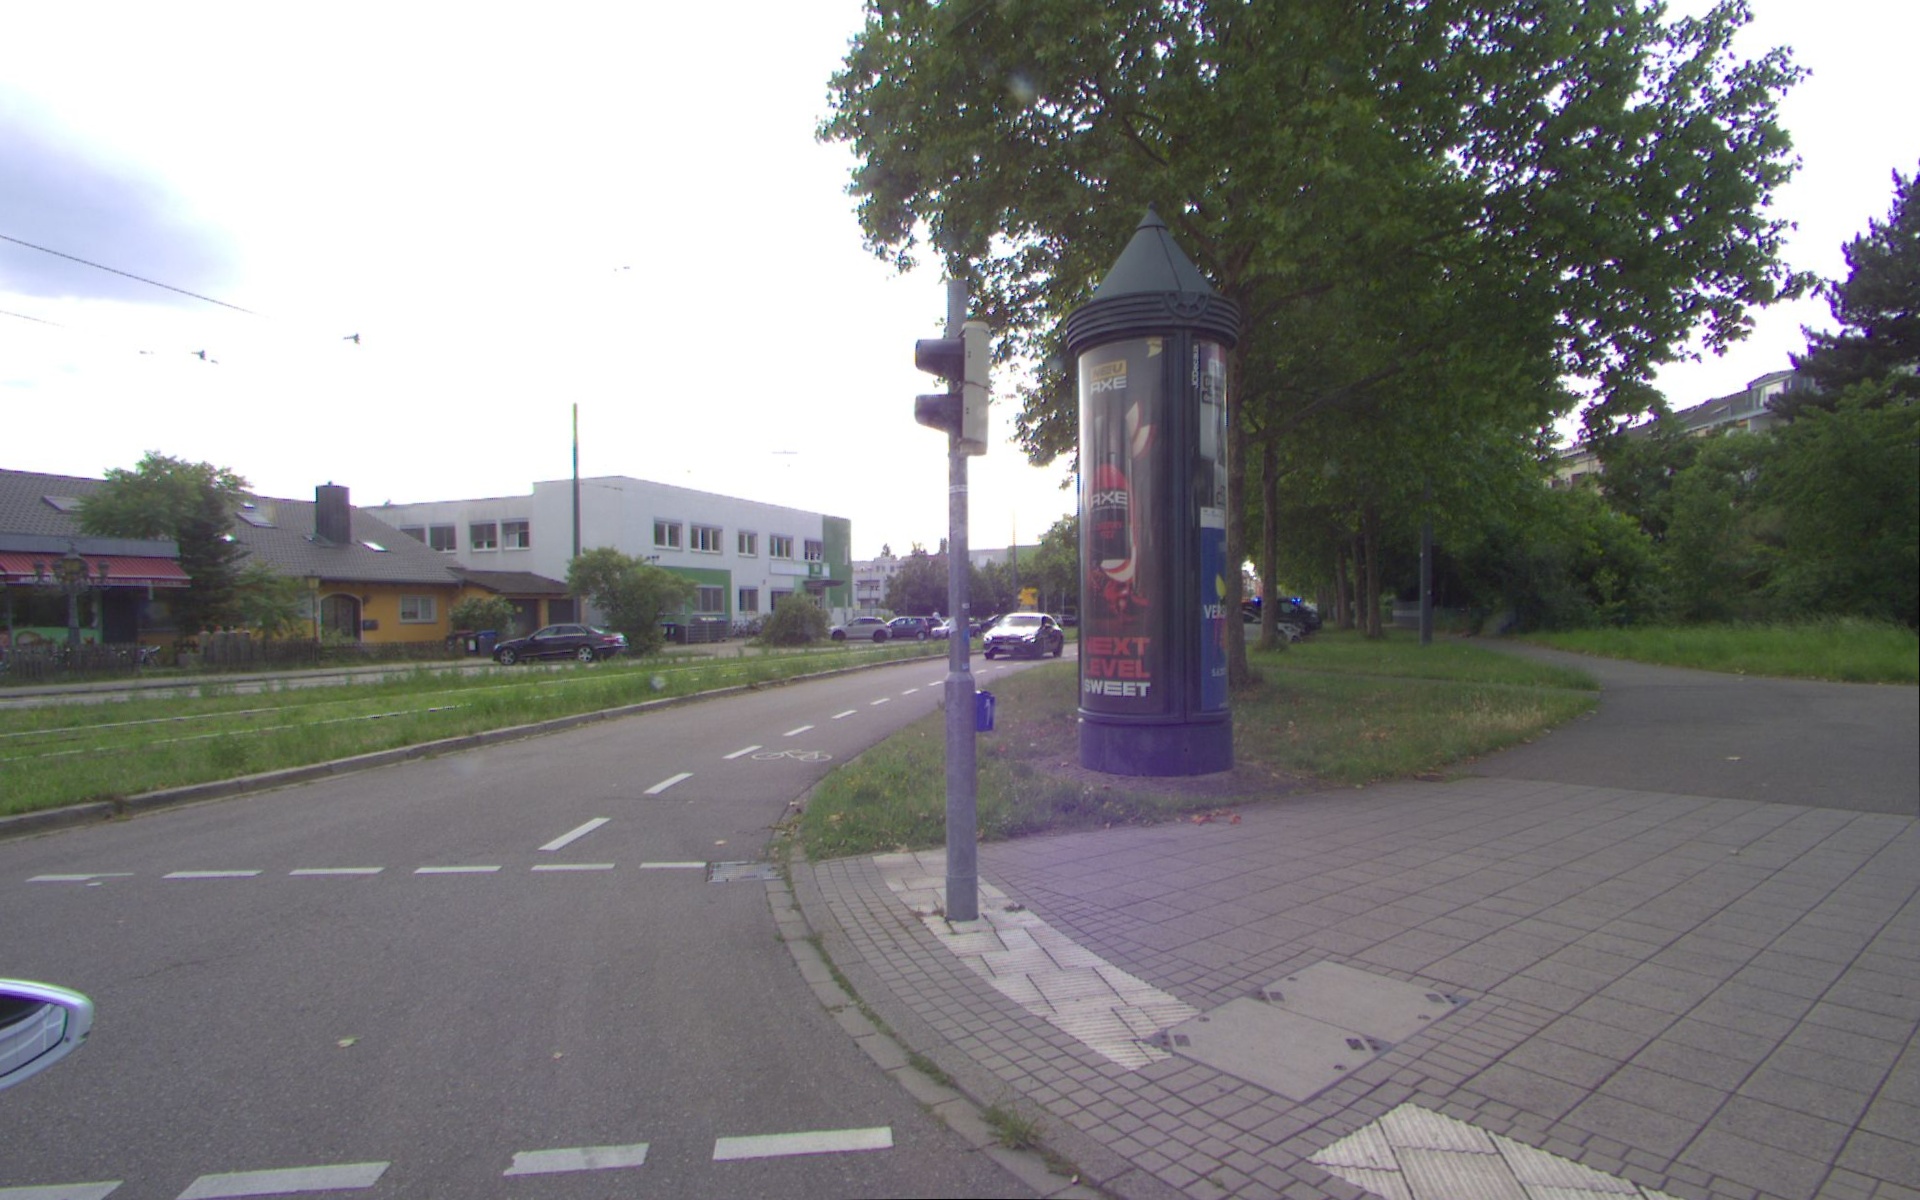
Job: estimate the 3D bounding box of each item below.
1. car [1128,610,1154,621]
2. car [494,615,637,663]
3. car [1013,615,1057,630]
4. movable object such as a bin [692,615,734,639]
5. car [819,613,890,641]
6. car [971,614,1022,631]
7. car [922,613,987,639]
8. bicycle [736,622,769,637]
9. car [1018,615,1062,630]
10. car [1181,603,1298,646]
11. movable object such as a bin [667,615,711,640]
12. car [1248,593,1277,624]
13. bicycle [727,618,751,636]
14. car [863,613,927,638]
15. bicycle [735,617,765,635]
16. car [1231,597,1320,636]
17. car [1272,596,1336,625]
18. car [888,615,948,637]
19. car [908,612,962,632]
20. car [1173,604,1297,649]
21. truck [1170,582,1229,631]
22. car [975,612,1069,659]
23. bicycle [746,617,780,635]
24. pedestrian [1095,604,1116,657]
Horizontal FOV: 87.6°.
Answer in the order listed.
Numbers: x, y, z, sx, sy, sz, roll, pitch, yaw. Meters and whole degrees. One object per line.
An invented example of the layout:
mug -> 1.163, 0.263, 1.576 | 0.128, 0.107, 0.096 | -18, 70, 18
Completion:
car -> 30.660, 2.634, 169.973 | 3.926, 1.862, 1.820 | 2, 0, -11
car -> -14.590, 1.430, 37.211 | 4.490, 1.601, 2.000 | -2, 0, 1
car -> 7.453, 2.240, 99.778 | 4.231, 1.381, 1.902 | -1, 0, -2
movable object such as a bin -> -14.224, 1.539, 57.675 | 1.354, 1.344, 2.125 | -1, 0, 24
car -> -6.564, 1.686, 62.094 | 4.235, 1.650, 1.900 | -1, 0, -13
car -> 3.166, 1.975, 86.881 | 4.231, 1.381, 1.902 | -1, 0, -3
car -> -0.304, 1.675, 65.649 | 1.881, 1.650, 4.278 | 0, -1, 43
bicycle -> -13.755, 1.953, 66.443 | 2.124, 0.983, 0.728 | -1, 0, 25
car -> 8.137, 2.288, 102.282 | 4.231, 1.381, 1.902 | -1, 0, -2
car -> 11.354, 1.021, 40.687 | 4.463, 1.665, 1.997 | -1, -2, 19
movable object such as a bin -> -15.043, 1.494, 55.649 | 1.354, 1.344, 2.111 | -1, 0, 24
car -> 34.893, 1.032, 115.315 | 2.922, 3.373, 7.447 | 1, -1, 19
bicycle -> -14.352, 1.751, 65.031 | 1.600, 1.181, 0.701 | -1, 0, 37
car -> -4.412, 1.708, 67.756 | 4.233, 1.650, 1.901 | 0, 0, -7
bicycle -> -13.341, 1.662, 63.606 | 1.765, 1.096, 0.735 | -1, 0, 18
car -> 17.140, 0.925, 54.441 | 4.479, 2.040, 1.996 | -1, -1, 21
car -> 43.362, 1.343, 126.428 | 7.322, 3.374, 2.972 | 1, 0, 16
car -> -2.987, 1.796, 70.524 | 4.090, 1.523, 1.860 | 0, 0, -7
car -> -1.903, 1.702, 76.600 | 4.089, 1.523, 1.861 | 0, 0, -2
car -> 10.516, 1.035, 38.246 | 4.463, 1.665, 1.997 | -1, -2, 19
truck -> 17.558, 0.501, 73.090 | 3.139, 3.361, 7.505 | -1, -1, 21
car -> 2.102, 1.097, 32.554 | 1.809, 1.411, 4.596 | 0, -1, 20
bicycle -> -13.228, 1.774, 67.213 | 2.314, 1.181, 0.758 | -1, 0, 27
pedestrian -> 4.662, 0.971, 32.095 | 0.577, 1.706, 0.493 | 0, 0, 19
